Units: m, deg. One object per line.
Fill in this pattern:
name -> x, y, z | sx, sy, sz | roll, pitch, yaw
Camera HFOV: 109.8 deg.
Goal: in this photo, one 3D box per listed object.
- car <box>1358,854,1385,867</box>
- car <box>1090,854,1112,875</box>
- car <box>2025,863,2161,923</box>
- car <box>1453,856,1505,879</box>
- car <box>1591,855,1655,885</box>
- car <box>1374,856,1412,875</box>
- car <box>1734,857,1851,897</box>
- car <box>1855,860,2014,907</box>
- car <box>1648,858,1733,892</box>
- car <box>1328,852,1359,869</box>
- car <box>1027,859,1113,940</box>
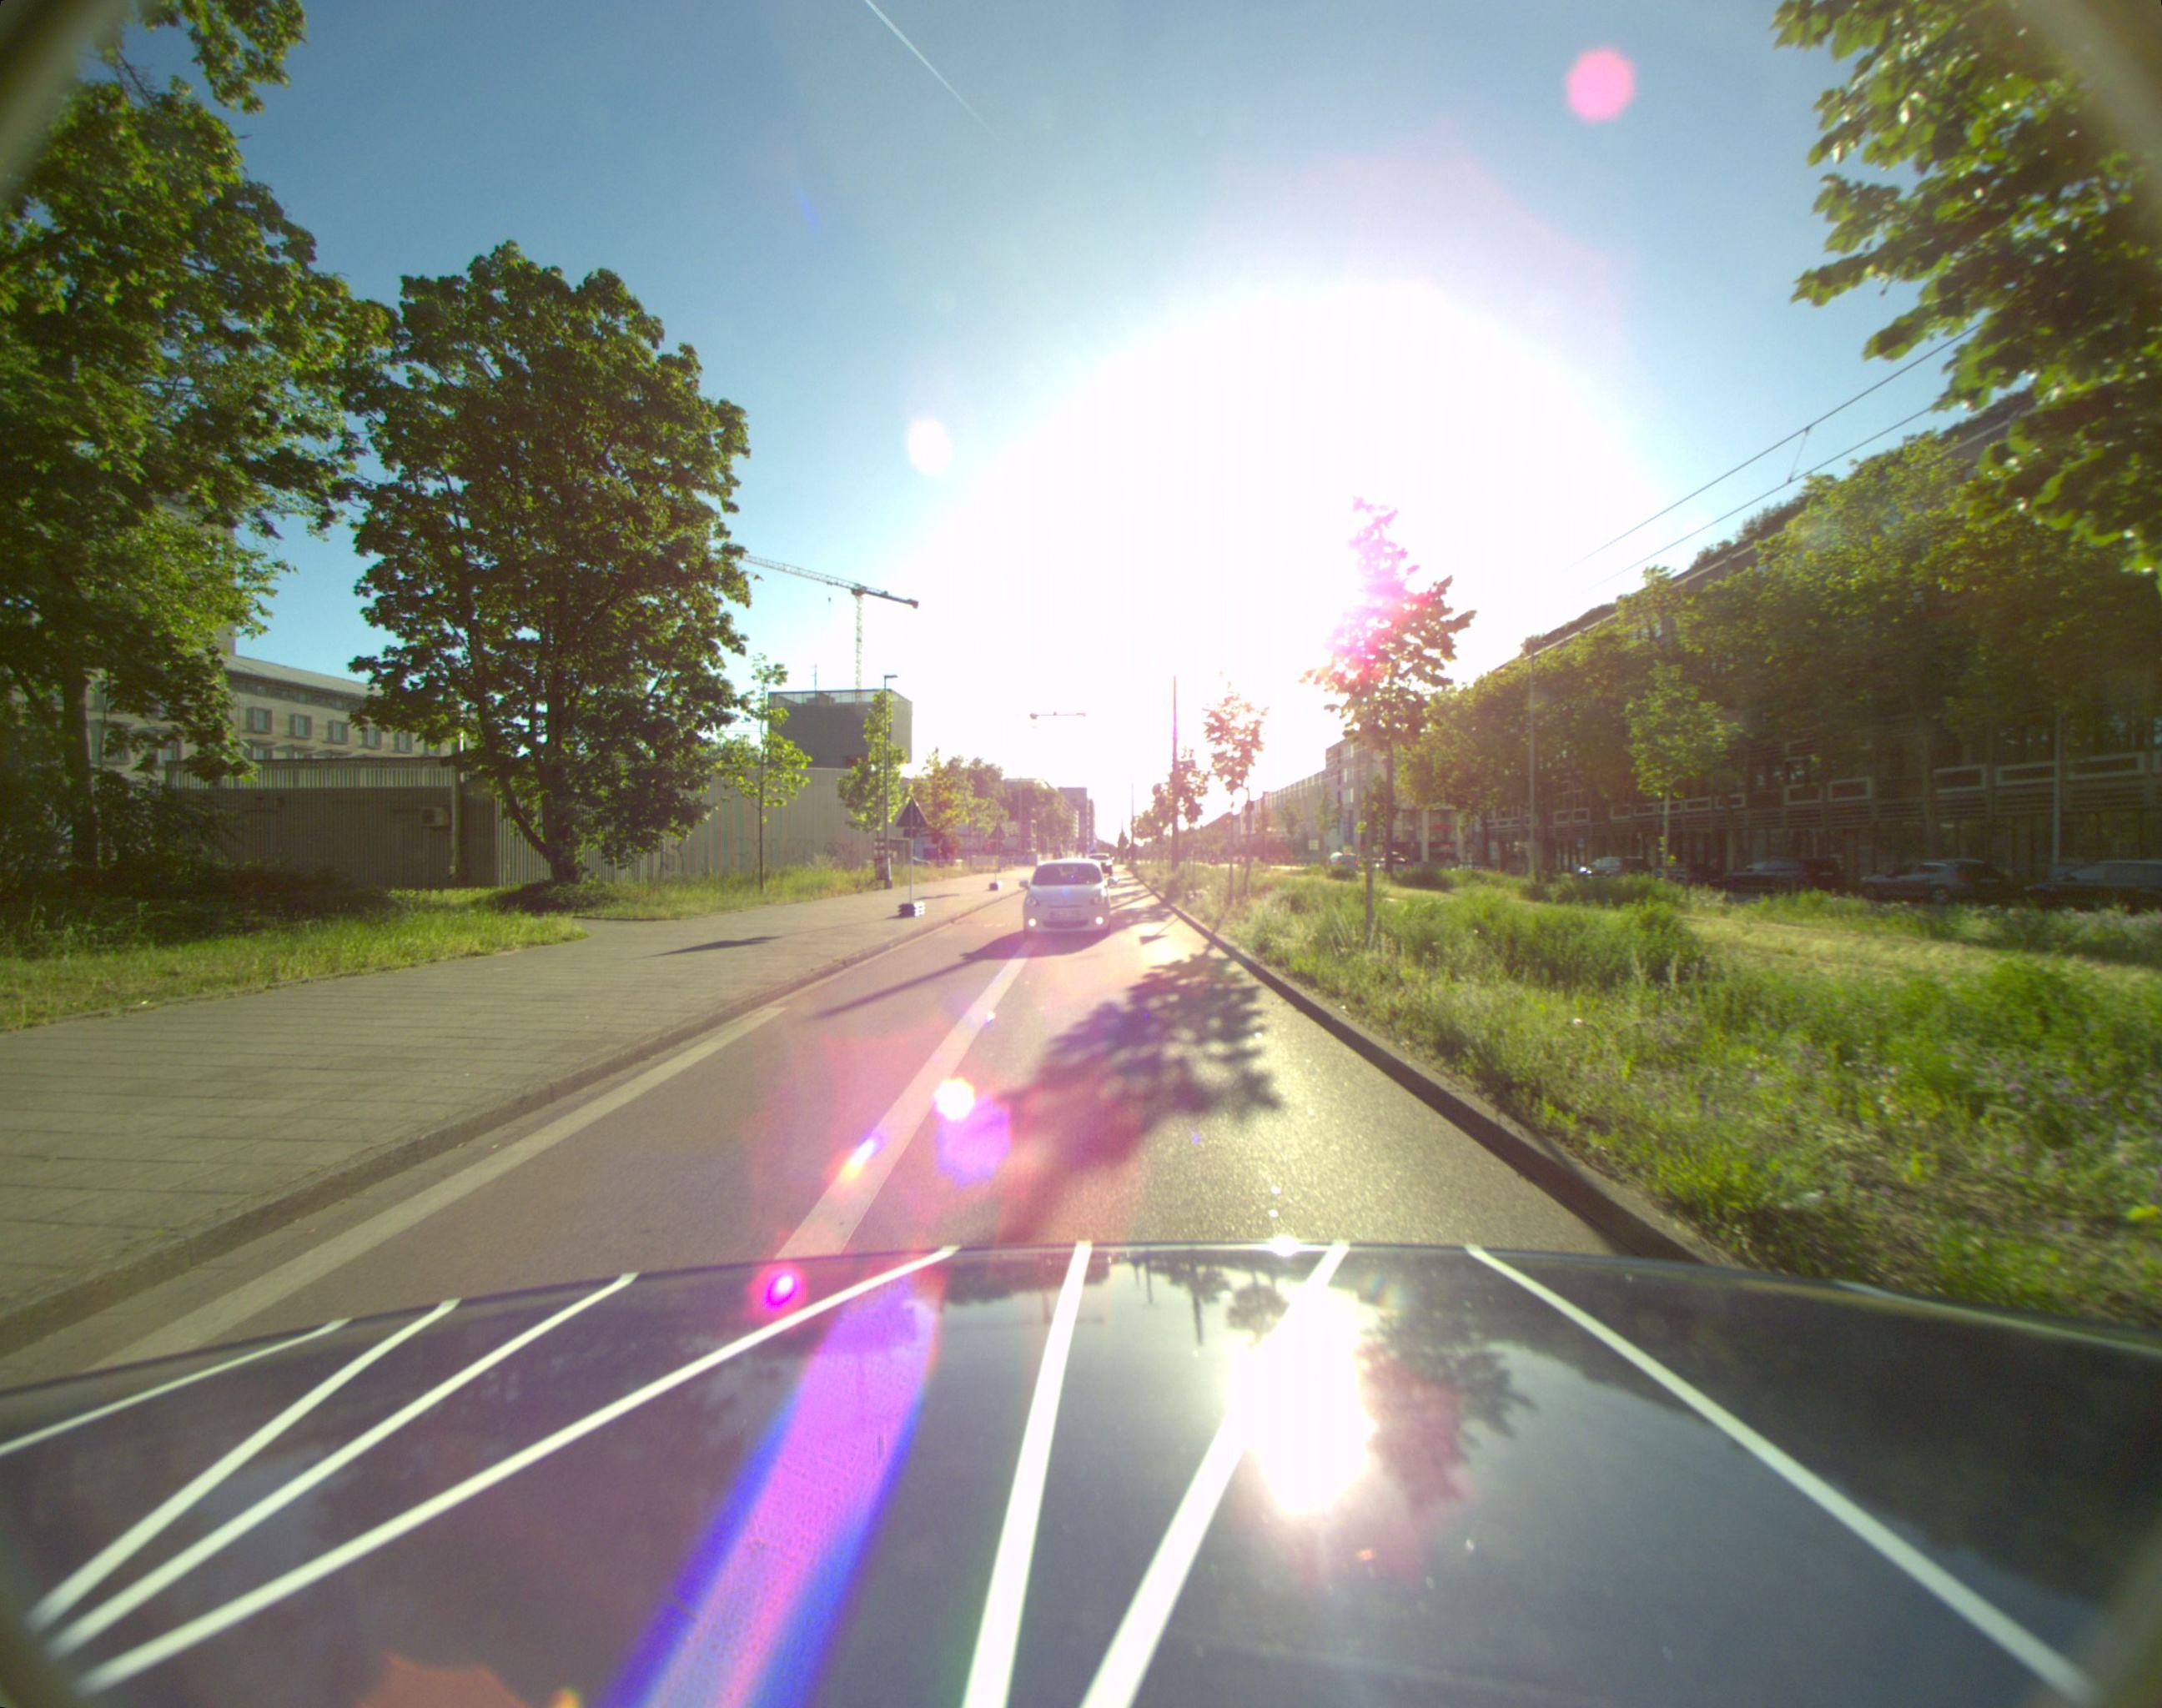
car -> 29.025, 0.632, 75.946 | 1.535, 1.343, 3.304 | 0, 0, 3
car -> 1.449, 0.757, 56.077 | 1.459, 1.472, 3.527 | 1, 1, 0
car -> 30.172, 1.072, 21.771 | 1.726, 1.535, 3.631 | -2, 0, 1
car -> 26.996, 0.898, 51.666 | 1.631, 1.487, 3.780 | 0, 0, 3
car -> 31.627, 0.909, 44.435 | 1.390, 1.592, 3.266 | -2, 0, 1
car -> 24.615, 0.891, 60.073 | 1.554, 1.371, 3.780 | 0, 0, 3
car -> 31.051, 0.967, 33.303 | 1.726, 1.592, 3.631 | -2, 0, 1
car -> 30.893, 1.018, 27.663 | 1.726, 1.477, 3.631 | -2, 0, 1
car -> 31.151, 1.016, 38.941 | 1.510, 1.592, 3.527 | -2, 0, 1
car -> 25.684, 0.605, 74.498 | 1.865, 1.671, 3.780 | 0, 0, 3
car -> -0.219, 0.883, 16.364 | 1.615, 1.489, 3.394 | -2, 0, 0
